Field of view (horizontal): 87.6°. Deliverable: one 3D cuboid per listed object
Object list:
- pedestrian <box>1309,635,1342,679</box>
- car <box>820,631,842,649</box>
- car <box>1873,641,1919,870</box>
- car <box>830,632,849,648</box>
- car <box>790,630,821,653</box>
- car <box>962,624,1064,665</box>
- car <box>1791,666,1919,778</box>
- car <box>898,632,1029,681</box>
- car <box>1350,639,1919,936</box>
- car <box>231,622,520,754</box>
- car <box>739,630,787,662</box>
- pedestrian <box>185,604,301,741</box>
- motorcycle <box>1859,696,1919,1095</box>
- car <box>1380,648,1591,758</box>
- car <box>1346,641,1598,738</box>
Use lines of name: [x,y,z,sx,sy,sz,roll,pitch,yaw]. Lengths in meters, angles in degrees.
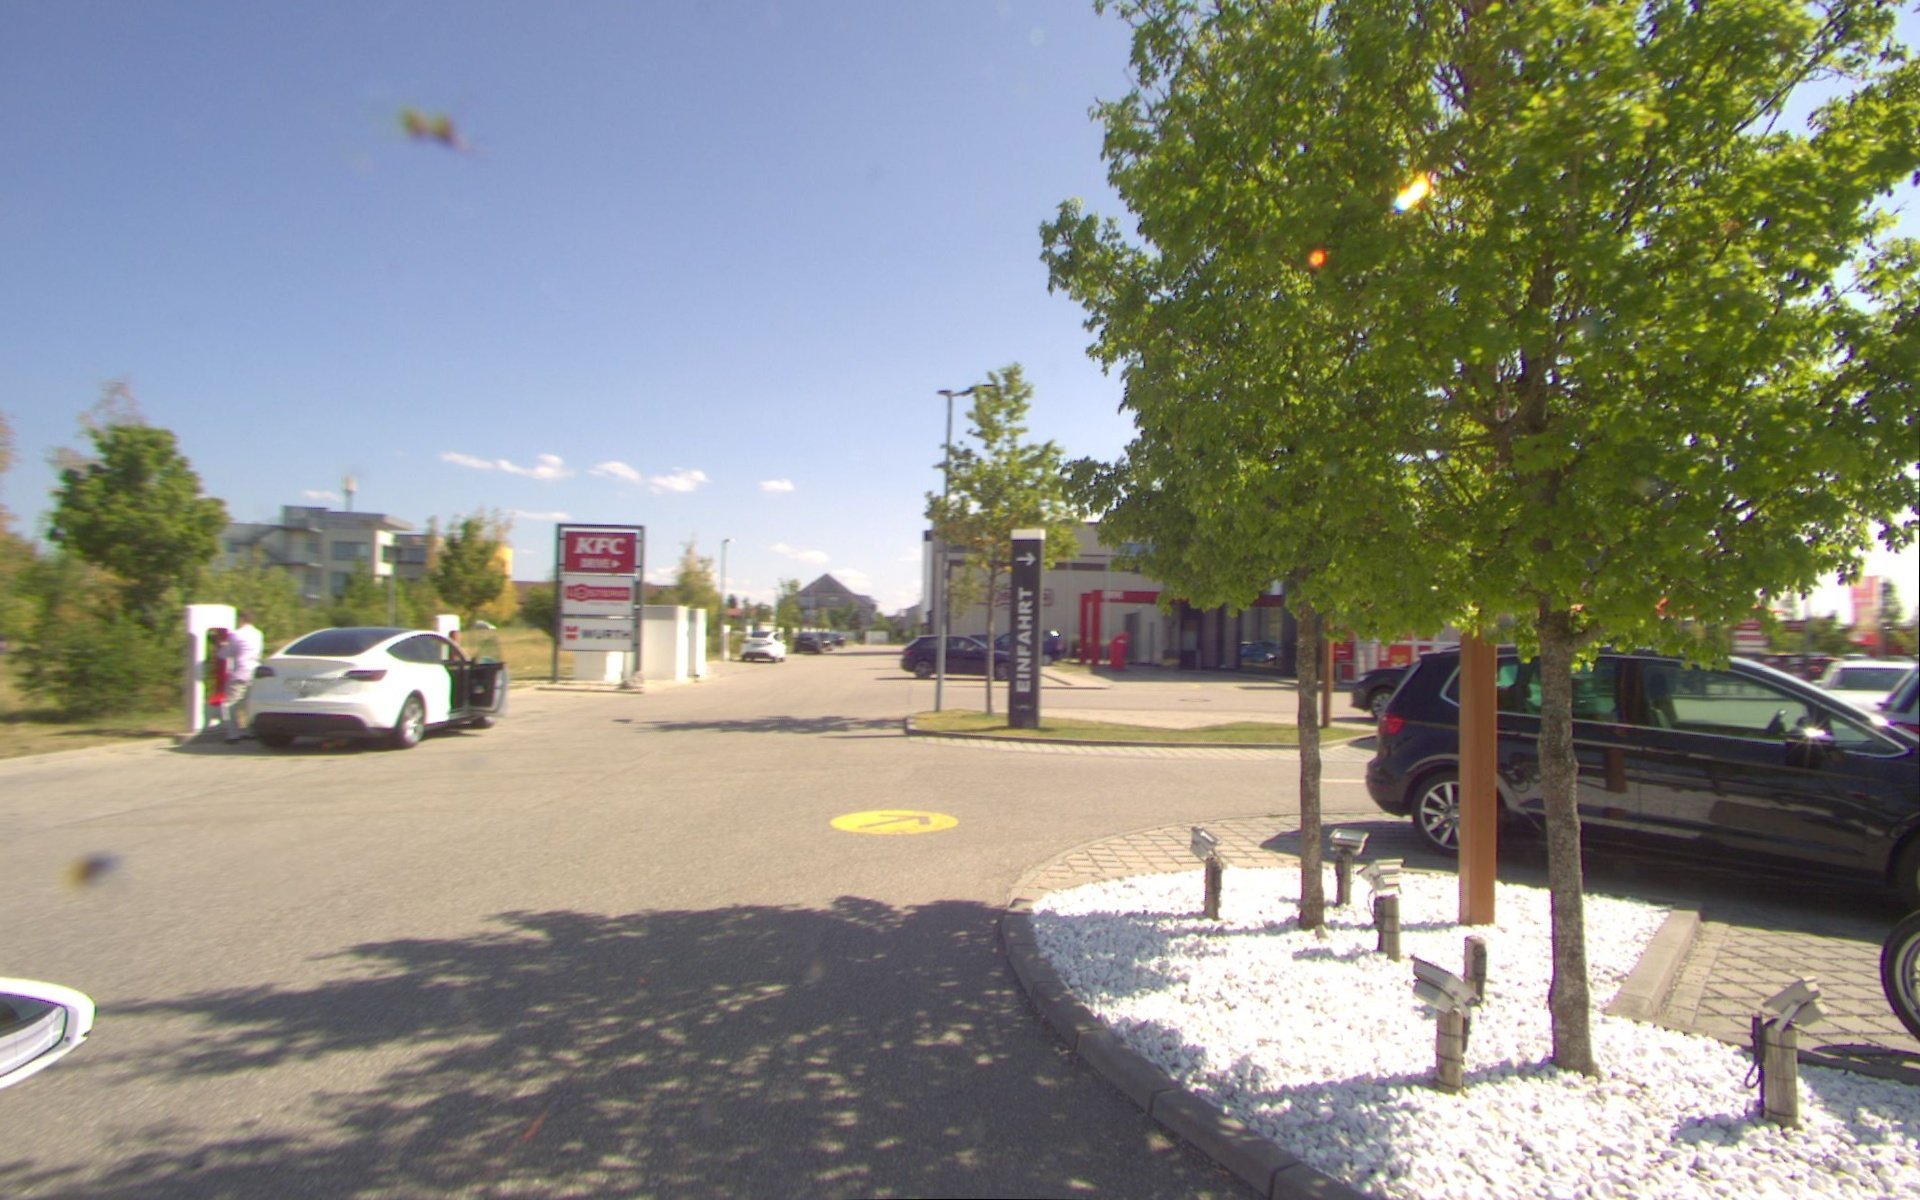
pedestrian: [12.371,1.926,33.882,0.784,1.453,0.772,1,-1,-6]
car: [-11.158,3.451,86.853,1.714,1.404,4.001,2,-2,-4]
car: [8.909,1.183,6.753,4.022,1.661,1.734,0,-2,43]
car: [-12.475,4.164,103.582,1.714,1.588,4.001,2,-2,-4]
car: [-11.487,3.065,74.692,1.913,1.588,4.001,2,-2,-4]
car: [2.343,1.993,44.802,4.301,1.707,1.641,2,-1,-8]
car: [14.671,1.859,16.080,1.890,1.490,4.442,0,-2,38]
car: [0.062,1.821,32.593,4.133,1.459,1.699,2,-1,-3]
car: [5.132,1.116,6.939,4.143,1.556,1.881,0,-2,42]
car: [-8.362,1.185,14.892,1.834,1.620,4.490,2,-2,-3]
car: [-10.422,2.444,53.299,1.913,1.588,4.001,1,-2,-3]
pedestrian: [-9.889,0.988,13.842,1.015,1.823,0.737,2,-1,-4]
motorcycle: [4.244,1.020,2.985,2.224,1.266,1.064,2,-2,39]
car: [8.352,1.520,15.743,1.825,1.444,4.149,0,-2,44]
car: [9.855,1.644,19.457,4.043,1.596,1.742,0,-2,44]
